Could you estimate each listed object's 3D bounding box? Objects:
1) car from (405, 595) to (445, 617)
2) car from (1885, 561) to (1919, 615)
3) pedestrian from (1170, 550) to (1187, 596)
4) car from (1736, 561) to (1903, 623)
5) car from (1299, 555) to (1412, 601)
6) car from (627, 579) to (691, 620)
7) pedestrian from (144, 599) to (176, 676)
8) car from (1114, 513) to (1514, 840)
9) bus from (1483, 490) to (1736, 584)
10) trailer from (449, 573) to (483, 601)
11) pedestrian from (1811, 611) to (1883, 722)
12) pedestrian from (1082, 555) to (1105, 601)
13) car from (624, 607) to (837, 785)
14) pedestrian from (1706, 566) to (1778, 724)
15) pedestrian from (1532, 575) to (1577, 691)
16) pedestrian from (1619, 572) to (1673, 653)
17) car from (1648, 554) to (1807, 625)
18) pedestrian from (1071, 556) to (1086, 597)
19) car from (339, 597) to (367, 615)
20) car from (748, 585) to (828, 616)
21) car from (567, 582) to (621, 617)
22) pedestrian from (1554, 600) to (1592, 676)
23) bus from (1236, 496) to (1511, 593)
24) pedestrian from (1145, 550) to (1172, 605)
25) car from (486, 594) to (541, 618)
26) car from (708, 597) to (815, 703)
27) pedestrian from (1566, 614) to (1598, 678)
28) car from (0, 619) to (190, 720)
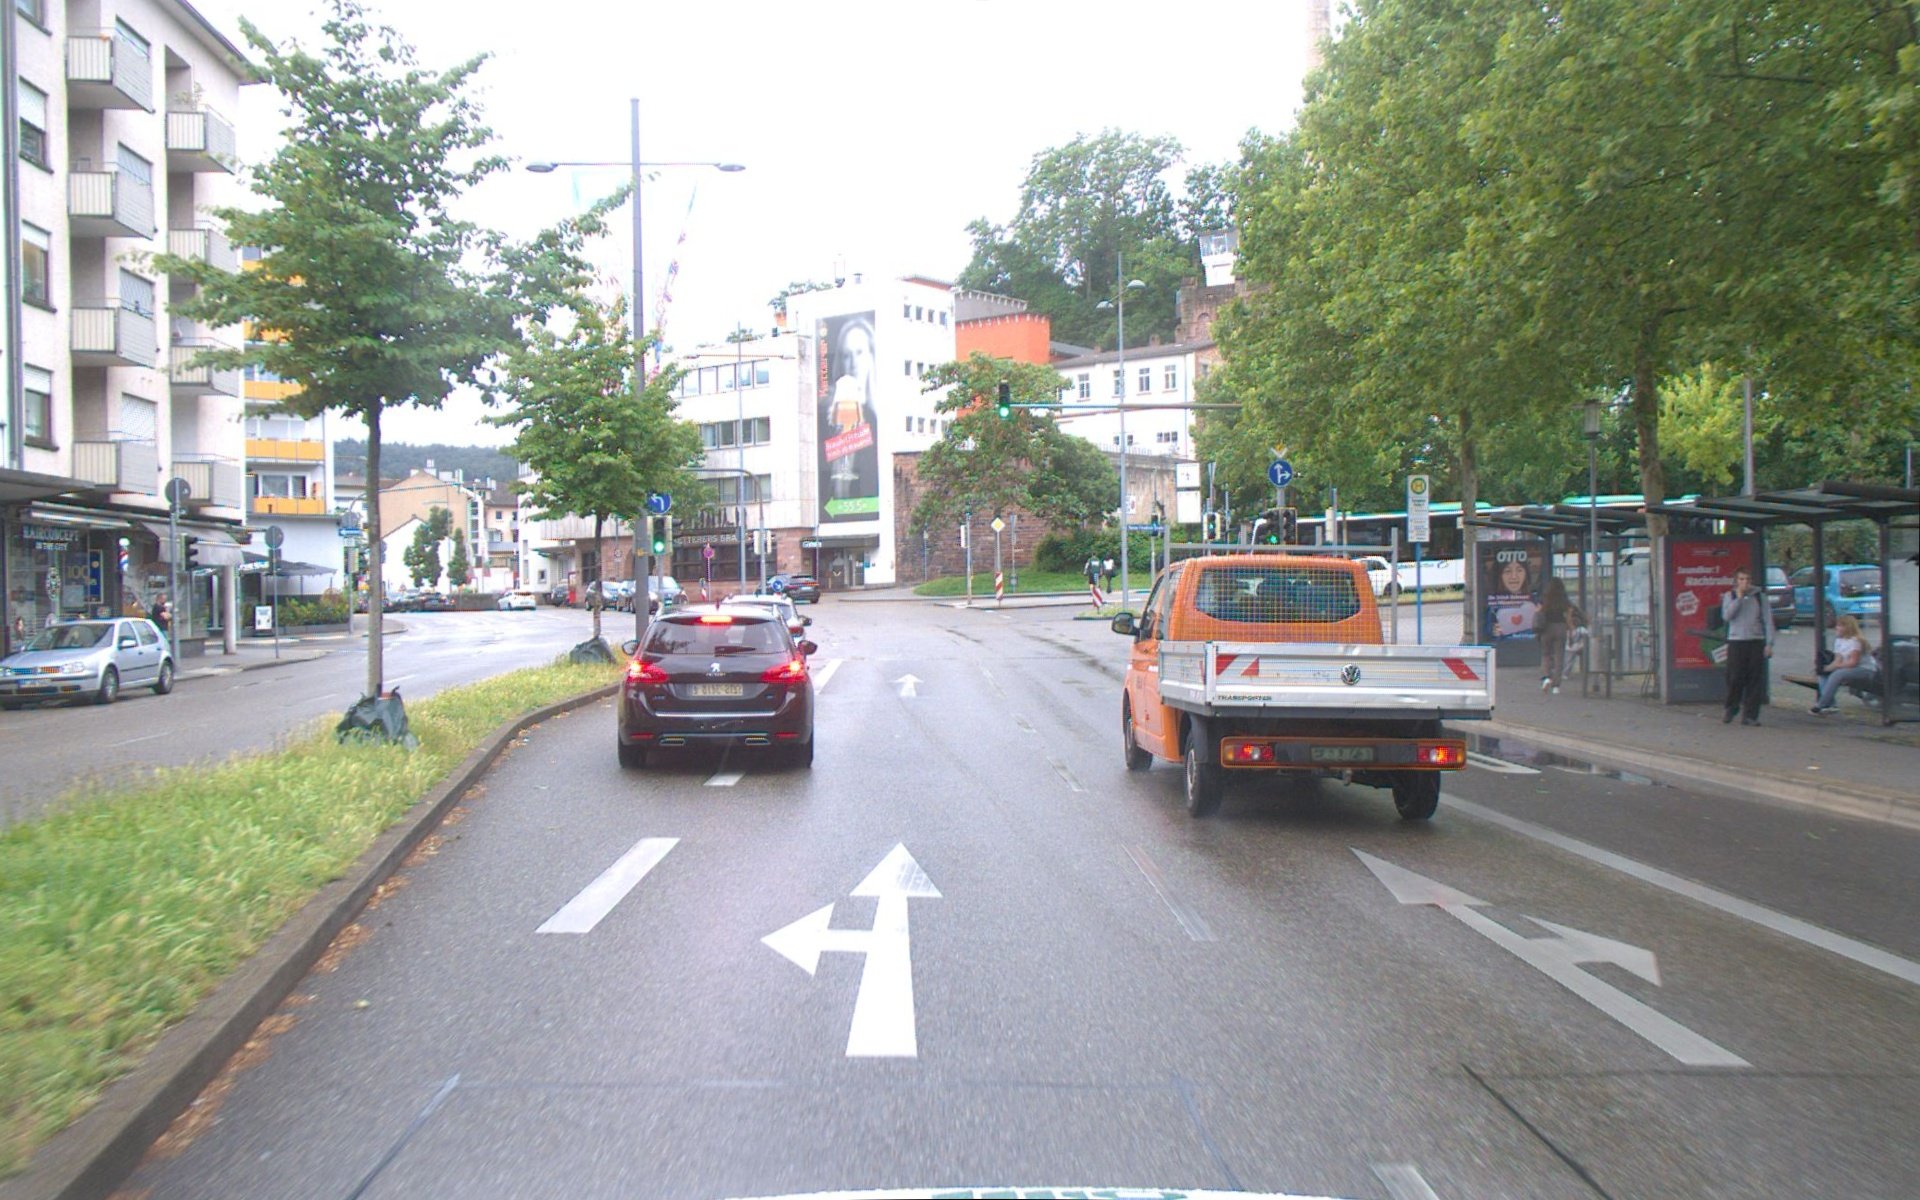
[{"bbox_3d":[-38.594,0.431,119.213,1.652,1.420,3.819,-2,2,-35],"label":"car"},{"bbox_3d":[25.764,-0.303,42.075,1.815,1.378,4.259,-2,1,-5],"label":"car"},{"bbox_3d":[8.368,-1.042,63.332,0.544,1.735,0.529,-3,2,9],"label":"pedestrian"},{"bbox_3d":[21.915,-0.244,42.367,1.815,1.465,4.259,-2,1,-5],"label":"car"},{"bbox_3d":[13.707,-0.777,57.437,3.487,1.476,1.589,-1,2,-4],"label":"car"},{"bbox_3d":[-13.005,-0.043,71.276,1.733,1.642,4.178,-3,2,-25],"label":"car"},{"bbox_3d":[-18.757,0.878,38.775,0.443,1.760,0.524,2,1,-2],"label":"pedestrian"},{"bbox_3d":[2.573,0.497,13.577,2.059,2.126,5.541,0,0,0],"label":"car"},{"bbox_3d":[23.985,-2.341,61.317,8.360,3.235,2.687,-1,2,-2],"label":"bus"},{"bbox_3d":[-51.148,-1.311,171.211,2.104,2.763,5.340,-4,2,-28],"label":"trailer"},{"bbox_3d":[10.959,0.811,20.448,0.618,1.345,0.626,0,0,10],"label":"pedestrian"},{"bbox_3d":[5.370,-0.875,66.559,0.861,1.863,0.729,0,0,-1],"label":"pedestrian"},{"bbox_3d":[-2.291,0.806,16.077,1.766,1.459,4.386,0,0,-10],"label":"car"},{"bbox_3d":[9.514,0.540,20.140,0.716,1.874,0.757,0,0,21],"label":"pedestrian"},{"bbox_3d":[9.024,0.493,25.101,0.529,1.725,0.554,0,2,32],"label":"pedestrian"},{"bbox_3d":[14.461,0.254,34.868,0.750,1.661,0.861,-1,2,-3],"label":"pedestrian"},{"bbox_3d":[19.353,-0.293,41.928,1.765,1.641,4.258,-2,1,-5],"label":"car"},{"bbox_3d":[4.765,-0.932,66.465,0.554,1.644,0.691,1,-1,1],"label":"pedestrian"},{"bbox_3d":[-52.699,0.507,143.540,1.648,1.420,3.826,-2,2,-31],"label":"car"},{"bbox_3d":[-8.241,0.038,78.873,1.775,1.427,4.574,1,-1,-36],"label":"car"},{"bbox_3d":[-18.107,-0.055,81.693,1.733,1.642,4.178,-3,2,-25],"label":"car"},{"bbox_3d":[10.615,0.658,28.655,0.488,1.293,0.401,-1,1,-2],"label":"pedestrian"},{"bbox_3d":[15.148,-2.075,60.914,9.436,3.272,2.704,-1,2,-4],"label":"bus"},{"bbox_3d":[7.598,-0.849,63.248,0.771,2.048,0.587,-2,2,34],"label":"pedestrian"},{"bbox_3d":[-29.285,0.383,108.489,3.797,1.420,1.661,2,3,41],"label":"car"},{"bbox_3d":[-3.126,0.748,26.530,1.506,1.487,3.627,-1,1,-4],"label":"car"},{"bbox_3d":[10.606,0.777,28.193,0.392,1.052,0.370,-1,1,-2],"label":"pedestrian"},{"bbox_3d":[-14.984,1.144,28.638,1.644,1.416,4.147,-4,1,-6],"label":"car"}]
